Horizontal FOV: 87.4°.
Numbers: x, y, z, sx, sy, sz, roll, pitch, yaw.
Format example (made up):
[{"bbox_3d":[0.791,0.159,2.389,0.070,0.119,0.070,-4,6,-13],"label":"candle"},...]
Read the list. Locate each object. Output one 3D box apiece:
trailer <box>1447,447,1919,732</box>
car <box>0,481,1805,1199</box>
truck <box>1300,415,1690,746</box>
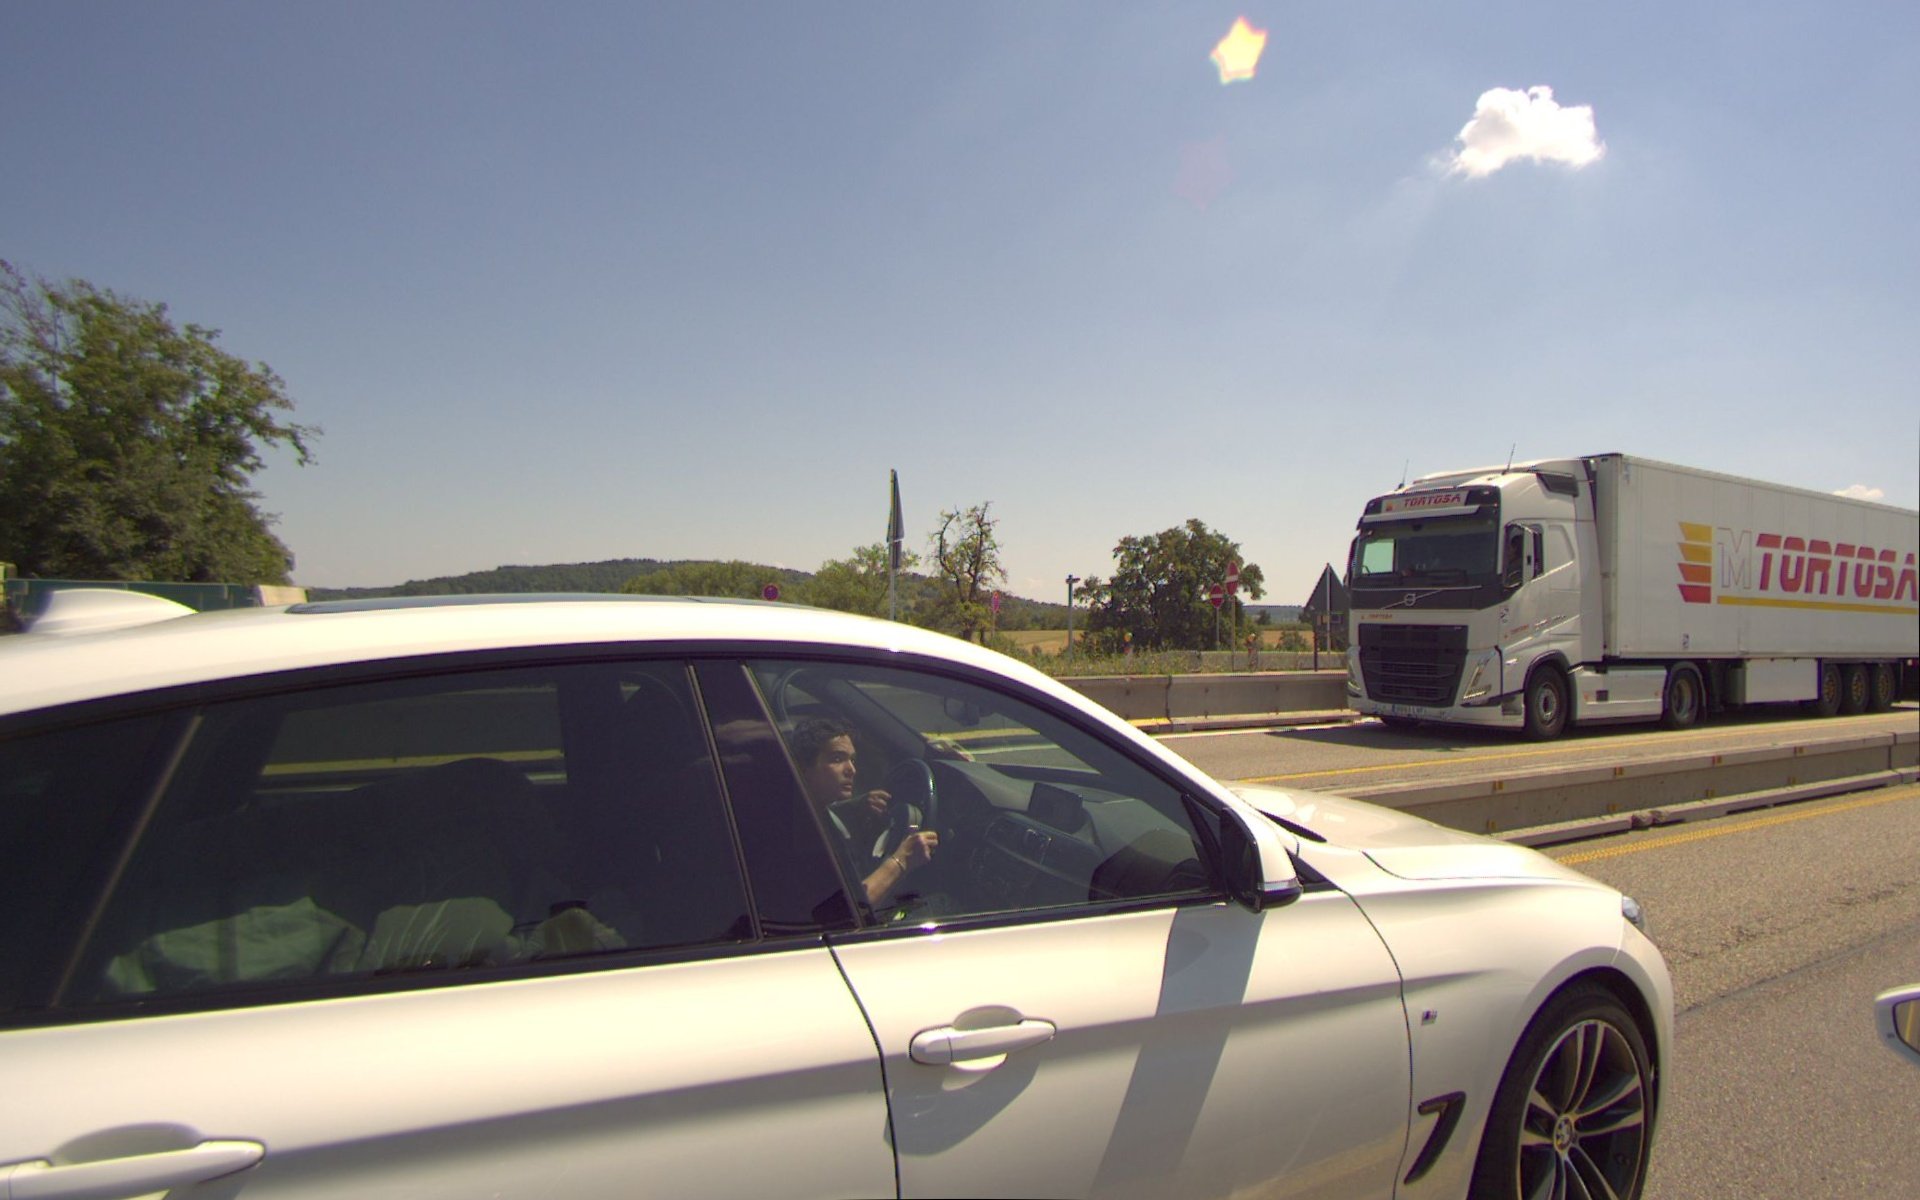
[{"bbox_3d":[14.564,-0.053,19.138,12.970,4.149,2.801,1,0,-31],"label":"trailer"},{"bbox_3d":[-0.271,0.702,2.213,5.016,1.555,1.785,2,0,-32],"label":"car"},{"bbox_3d":[8.191,-0.188,15.322,5.395,4.186,2.816,2,0,-31],"label":"truck"}]
